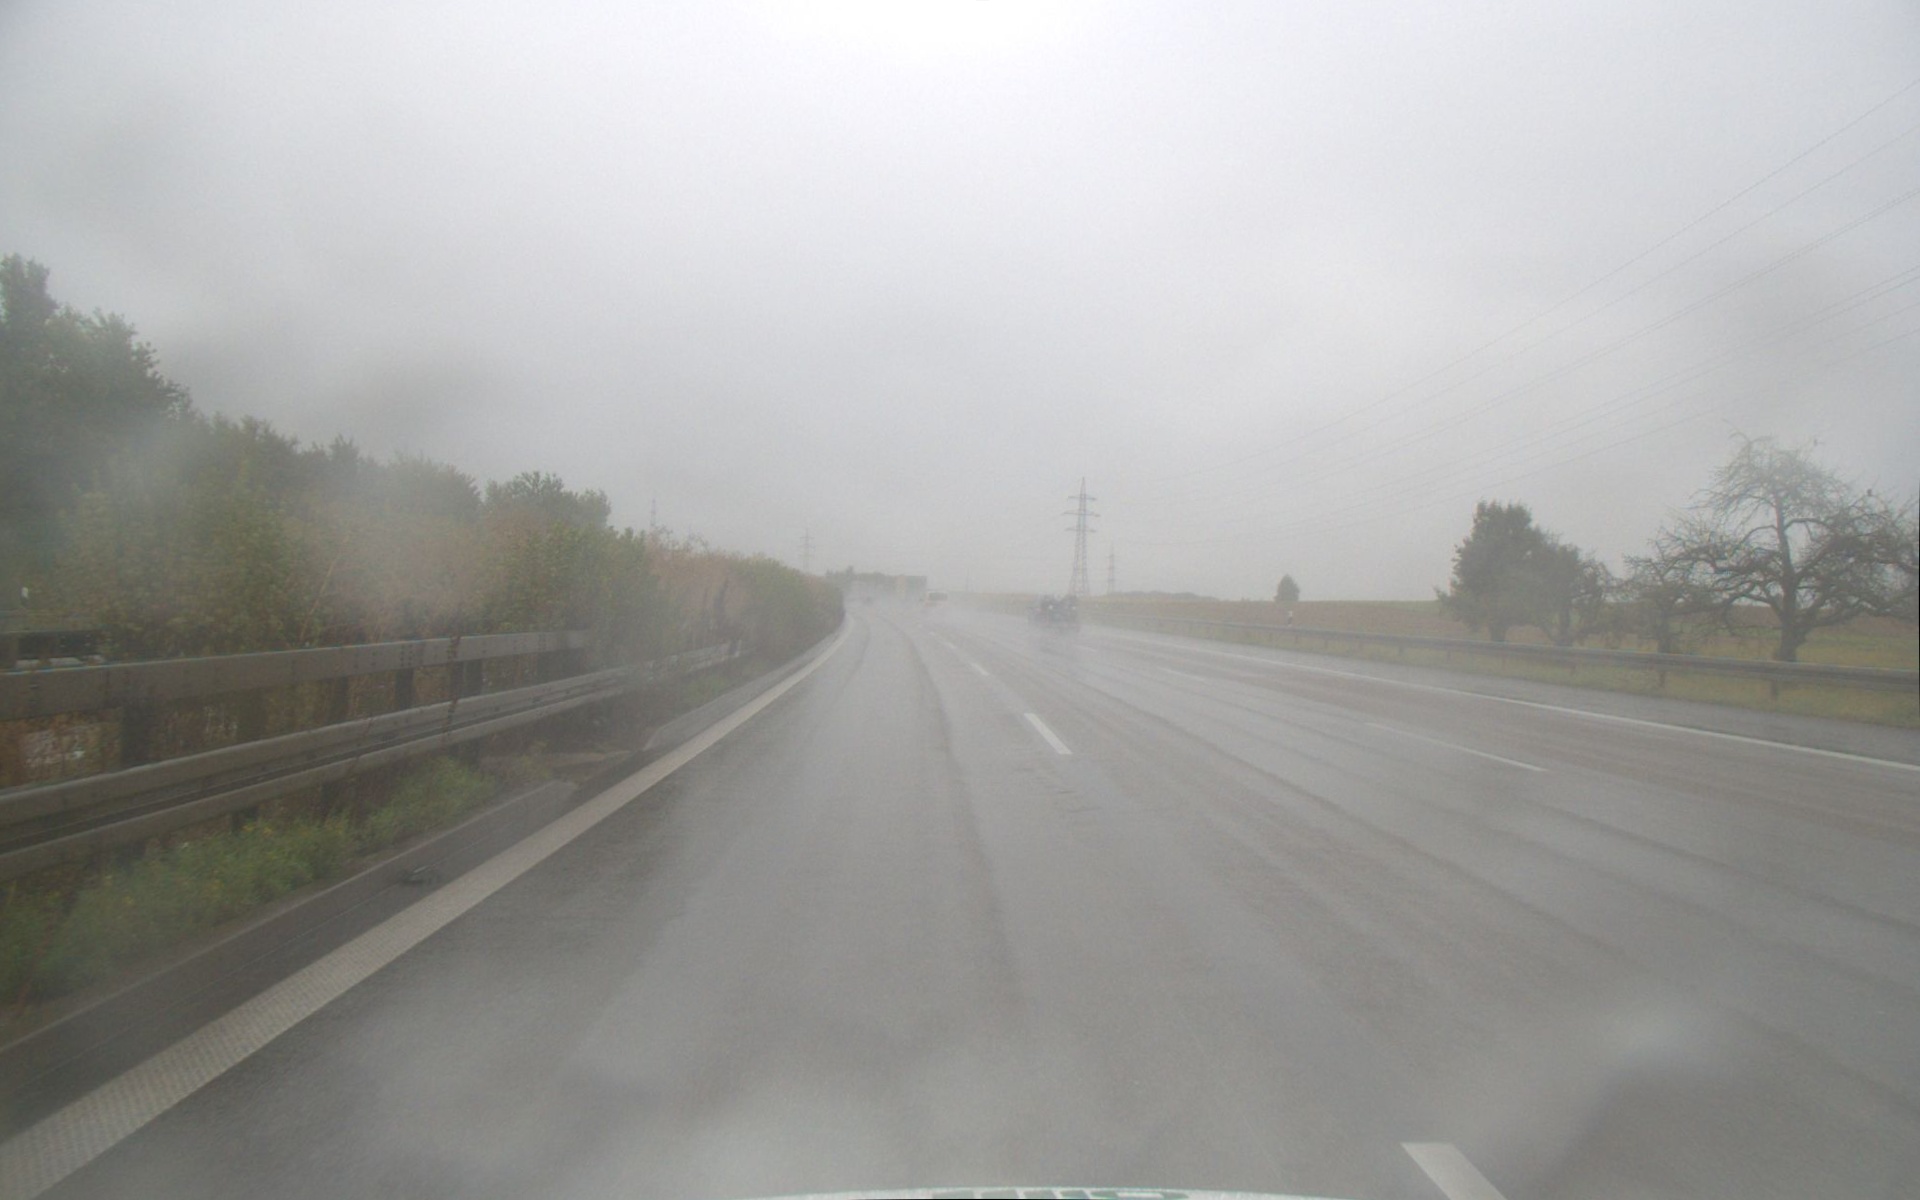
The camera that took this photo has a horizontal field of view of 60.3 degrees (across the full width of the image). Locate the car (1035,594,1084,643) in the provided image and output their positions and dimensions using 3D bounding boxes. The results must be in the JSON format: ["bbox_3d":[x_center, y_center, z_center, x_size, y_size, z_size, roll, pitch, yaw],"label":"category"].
[{"bbox_3d":[4.584,0.846,76.941,1.771,2.196,3.997,1,0,-3],"label":"car"}]

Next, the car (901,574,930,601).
[{"bbox_3d":[-5.517,-1.499,205.354,3.138,3.248,7.249,1,0,-5],"label":"car"}]
